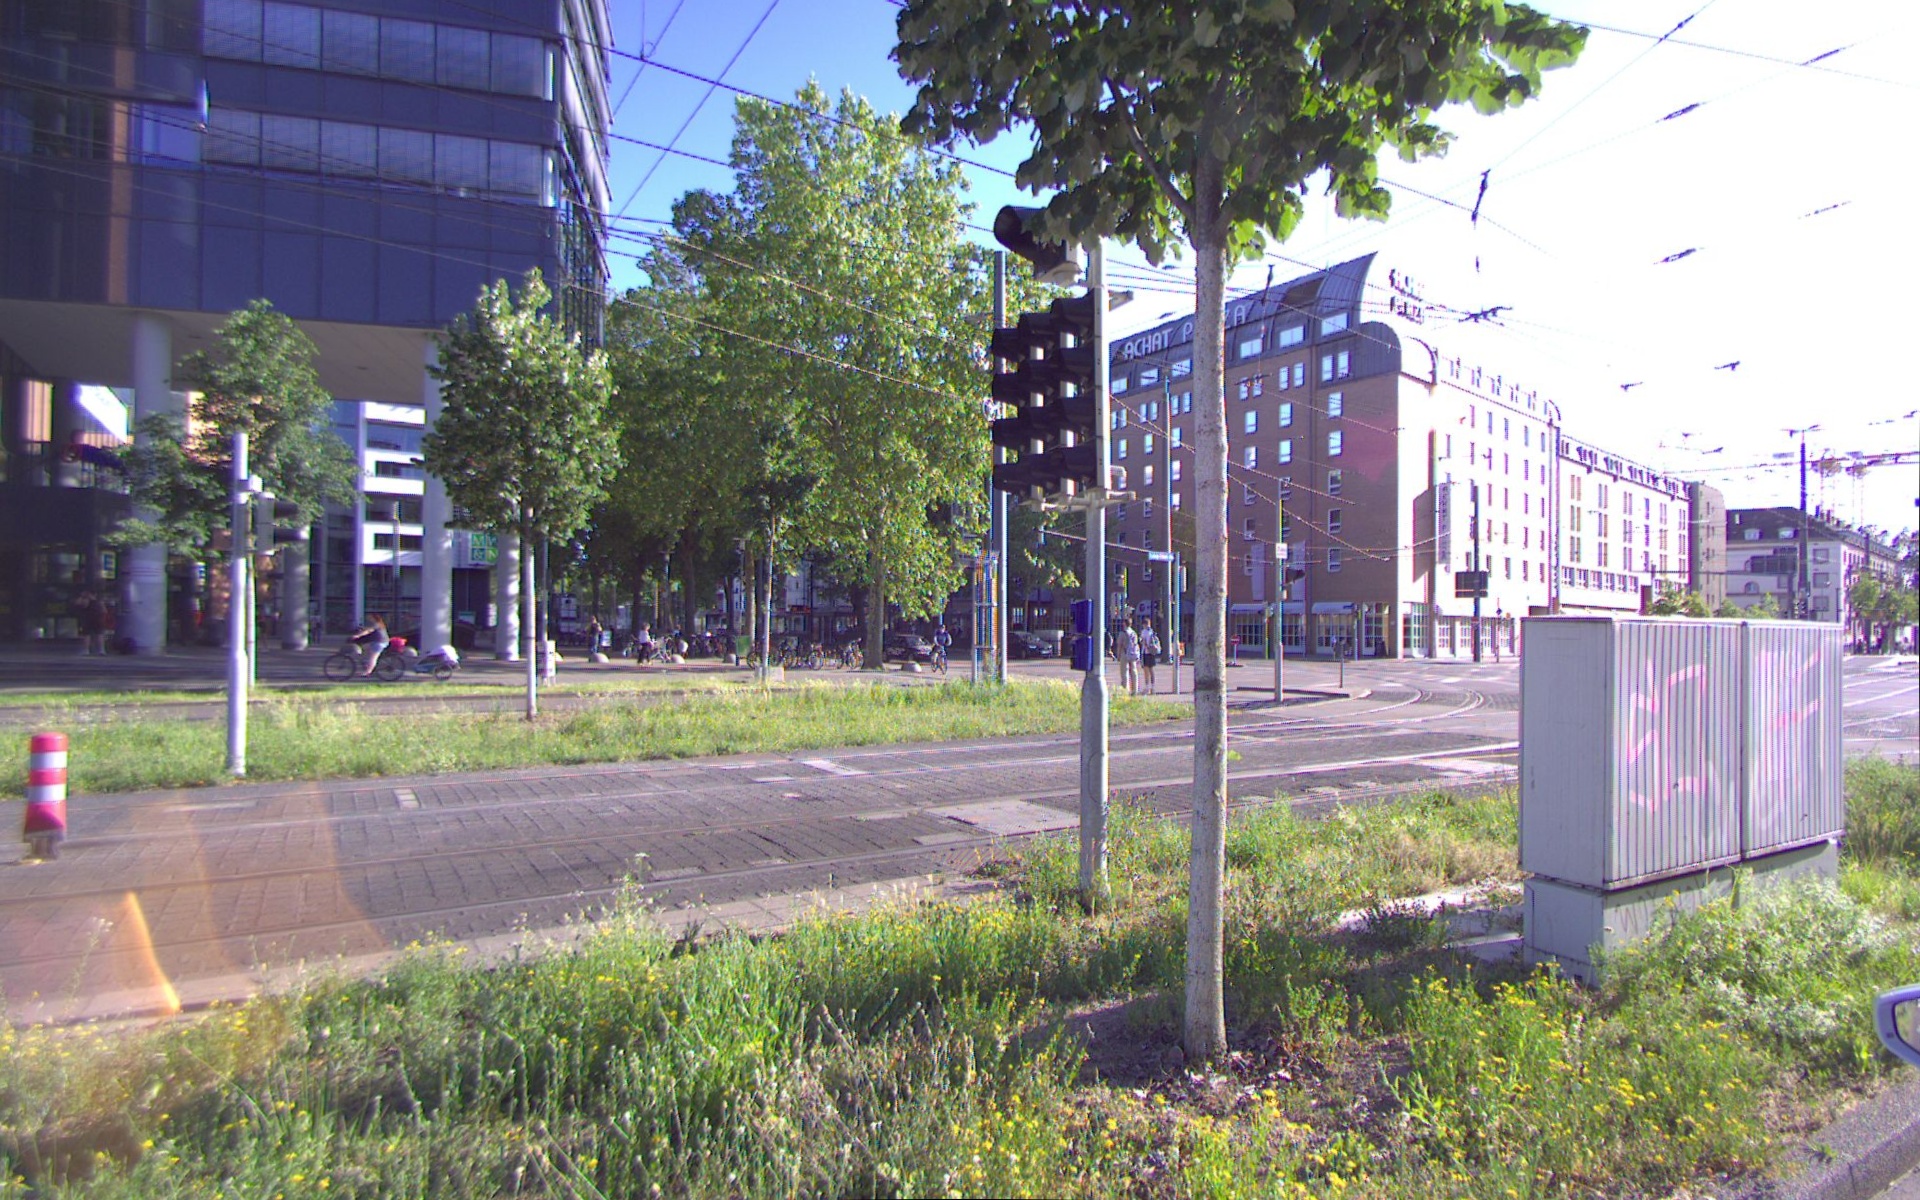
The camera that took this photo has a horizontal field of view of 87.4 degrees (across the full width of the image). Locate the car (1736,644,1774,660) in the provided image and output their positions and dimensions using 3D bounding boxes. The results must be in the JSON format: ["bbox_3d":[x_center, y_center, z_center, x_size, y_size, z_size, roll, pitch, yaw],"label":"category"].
[{"bbox_3d":[65.278,4.288,82.473,4.199,1.285,1.822,2,-4,-43],"label":"car"}]

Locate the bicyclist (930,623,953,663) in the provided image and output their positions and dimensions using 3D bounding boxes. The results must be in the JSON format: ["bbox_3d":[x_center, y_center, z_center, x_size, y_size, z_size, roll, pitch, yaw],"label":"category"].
[{"bbox_3d":[-0.686,1.583,37.256,0.682,1.480,0.752,1,-1,-14],"label":"bicyclist"}]

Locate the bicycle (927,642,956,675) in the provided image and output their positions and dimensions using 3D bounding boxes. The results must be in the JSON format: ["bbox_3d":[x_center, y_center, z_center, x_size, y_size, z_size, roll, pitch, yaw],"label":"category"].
[{"bbox_3d":[-0.699,2.165,37.260,0.682,1.152,1.846,1,-2,-13],"label":"bicycle"}]

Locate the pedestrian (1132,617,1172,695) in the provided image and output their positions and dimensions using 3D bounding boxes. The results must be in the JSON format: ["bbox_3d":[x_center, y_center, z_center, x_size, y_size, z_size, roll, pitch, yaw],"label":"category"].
[{"bbox_3d":[4.806,1.388,25.090,0.666,1.894,0.727,1,-2,-33],"label":"pedestrian"}]

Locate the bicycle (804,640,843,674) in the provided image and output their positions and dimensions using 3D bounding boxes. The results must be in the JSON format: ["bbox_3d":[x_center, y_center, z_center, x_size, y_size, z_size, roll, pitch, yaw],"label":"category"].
[{"bbox_3d":[-4.969,2.054,36.416,0.592,1.143,2.348,0,-1,-29],"label":"bicycle"}]

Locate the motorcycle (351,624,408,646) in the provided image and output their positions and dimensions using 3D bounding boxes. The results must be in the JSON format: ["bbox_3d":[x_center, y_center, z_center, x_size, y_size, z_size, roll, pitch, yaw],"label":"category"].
[{"bbox_3d":[-28.693,1.742,49.657,2.309,1.072,0.828,1,-1,-22],"label":"motorcycle"}]

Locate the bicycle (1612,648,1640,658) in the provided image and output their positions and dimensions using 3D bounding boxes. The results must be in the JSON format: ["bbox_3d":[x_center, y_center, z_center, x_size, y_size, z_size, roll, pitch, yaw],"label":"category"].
[{"bbox_3d":[57.338,4.581,86.519,0.477,0.856,2.024,1,-2,-30],"label":"bicycle"}]

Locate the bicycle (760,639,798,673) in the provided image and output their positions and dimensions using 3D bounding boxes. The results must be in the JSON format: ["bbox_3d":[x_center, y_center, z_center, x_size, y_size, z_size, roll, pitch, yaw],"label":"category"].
[{"bbox_3d":[-6.514,1.980,36.075,0.592,1.143,2.348,0,-1,-29],"label":"bicycle"}]

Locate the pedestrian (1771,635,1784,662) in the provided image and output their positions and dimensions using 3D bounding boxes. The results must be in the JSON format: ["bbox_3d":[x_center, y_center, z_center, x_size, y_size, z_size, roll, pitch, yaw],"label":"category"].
[{"bbox_3d":[48.658,2.890,59.771,0.573,1.598,0.644,0,-2,36],"label":"pedestrian"}]

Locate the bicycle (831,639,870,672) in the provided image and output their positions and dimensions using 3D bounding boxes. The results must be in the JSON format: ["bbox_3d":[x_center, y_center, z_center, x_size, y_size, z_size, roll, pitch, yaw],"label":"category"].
[{"bbox_3d":[-4.094,2.037,37.393,0.592,1.143,2.348,0,-1,-29],"label":"bicycle"}]

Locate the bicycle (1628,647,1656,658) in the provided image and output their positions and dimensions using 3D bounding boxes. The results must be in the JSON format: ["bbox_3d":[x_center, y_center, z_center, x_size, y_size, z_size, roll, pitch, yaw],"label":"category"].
[{"bbox_3d":[59.625,4.577,87.807,0.477,0.933,2.024,1,-2,-30],"label":"bicycle"}]

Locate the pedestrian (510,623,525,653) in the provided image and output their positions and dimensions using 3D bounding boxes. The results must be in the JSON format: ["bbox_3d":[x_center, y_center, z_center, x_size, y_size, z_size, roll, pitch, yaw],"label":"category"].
[{"bbox_3d":[-25.565,2.174,58.002,0.691,1.737,0.727,1,-1,-33],"label":"pedestrian"}]

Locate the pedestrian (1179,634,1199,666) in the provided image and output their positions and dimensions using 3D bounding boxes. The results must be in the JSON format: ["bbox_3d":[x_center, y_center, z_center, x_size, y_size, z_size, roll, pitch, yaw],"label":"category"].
[{"bbox_3d":[12.542,2.723,54.979,0.824,1.702,0.708,0,-1,-39],"label":"pedestrian"}]

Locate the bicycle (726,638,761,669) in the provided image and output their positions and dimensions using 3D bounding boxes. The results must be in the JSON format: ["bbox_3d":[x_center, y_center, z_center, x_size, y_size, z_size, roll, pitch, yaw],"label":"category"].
[{"bbox_3d":[-8.337,2.036,38.587,0.592,1.143,2.348,0,-1,-30],"label":"bicycle"}]

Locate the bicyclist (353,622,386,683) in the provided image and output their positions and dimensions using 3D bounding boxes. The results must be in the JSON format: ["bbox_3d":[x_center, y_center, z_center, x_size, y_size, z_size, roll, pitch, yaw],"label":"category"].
[{"bbox_3d":[-15.278,1.353,25.999,0.695,1.550,0.686,1,-1,-31],"label":"bicyclist"}]

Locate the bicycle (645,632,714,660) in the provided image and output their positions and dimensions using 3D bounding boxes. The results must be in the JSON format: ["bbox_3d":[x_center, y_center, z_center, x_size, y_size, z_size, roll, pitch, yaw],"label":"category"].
[{"bbox_3d":[-14.309,2.341,51.271,1.021,1.371,3.342,-1,-2,44],"label":"bicycle"}]

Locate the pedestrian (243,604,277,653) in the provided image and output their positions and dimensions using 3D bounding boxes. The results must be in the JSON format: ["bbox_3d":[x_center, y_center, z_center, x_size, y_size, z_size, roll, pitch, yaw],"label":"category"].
[{"bbox_3d":[-23.814,0.961,34.179,0.722,1.644,0.696,1,-1,-18],"label":"pedestrian"}]

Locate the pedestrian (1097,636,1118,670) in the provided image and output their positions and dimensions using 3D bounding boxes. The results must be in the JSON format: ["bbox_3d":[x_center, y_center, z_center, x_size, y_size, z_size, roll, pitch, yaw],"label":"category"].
[{"bbox_3d":[7.584,2.698,51.722,0.821,1.702,0.711,0,-1,-30],"label":"pedestrian"}]

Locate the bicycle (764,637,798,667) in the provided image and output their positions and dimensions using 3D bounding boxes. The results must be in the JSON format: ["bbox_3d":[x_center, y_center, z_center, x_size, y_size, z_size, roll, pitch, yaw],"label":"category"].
[{"bbox_3d":[-7.356,2.117,41.119,0.592,1.143,2.348,0,-1,-30],"label":"bicycle"}]

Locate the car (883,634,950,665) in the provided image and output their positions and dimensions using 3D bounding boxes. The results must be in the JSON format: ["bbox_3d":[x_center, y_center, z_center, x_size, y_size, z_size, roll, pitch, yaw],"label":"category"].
[{"bbox_3d":[-2.165,2.394,49.013,1.652,1.425,3.968,2,-3,-30],"label":"car"}]

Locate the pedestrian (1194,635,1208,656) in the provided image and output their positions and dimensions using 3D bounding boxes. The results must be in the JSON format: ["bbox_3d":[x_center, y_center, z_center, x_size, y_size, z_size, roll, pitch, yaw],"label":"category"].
[{"bbox_3d":[19.117,3.613,79.653,0.734,1.688,0.745,1,-1,-38],"label":"pedestrian"}]

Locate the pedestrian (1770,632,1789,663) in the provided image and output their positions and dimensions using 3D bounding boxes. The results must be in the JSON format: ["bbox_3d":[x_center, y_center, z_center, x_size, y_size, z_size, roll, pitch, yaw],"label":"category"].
[{"bbox_3d":[47.351,2.747,58.051,0.589,1.750,0.715,2,-2,-39],"label":"pedestrian"}]

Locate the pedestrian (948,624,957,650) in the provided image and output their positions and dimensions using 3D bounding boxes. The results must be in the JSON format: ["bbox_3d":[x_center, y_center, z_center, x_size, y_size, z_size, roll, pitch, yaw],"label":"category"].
[{"bbox_3d":[-0.519,2.640,71.310,0.581,1.853,0.745,1,-1,-1],"label":"pedestrian"}]

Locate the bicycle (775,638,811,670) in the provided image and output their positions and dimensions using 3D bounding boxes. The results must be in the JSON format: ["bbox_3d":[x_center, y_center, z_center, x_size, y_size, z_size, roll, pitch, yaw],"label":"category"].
[{"bbox_3d":[-6.484,2.067,38.836,0.592,1.143,2.348,0,-1,-30],"label":"bicycle"}]

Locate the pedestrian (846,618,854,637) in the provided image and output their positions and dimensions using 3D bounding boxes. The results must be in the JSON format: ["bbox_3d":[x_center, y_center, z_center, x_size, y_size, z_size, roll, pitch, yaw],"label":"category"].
[{"bbox_3d":[-9.123,2.293,83.262,0.557,1.594,0.636,2,0,-20],"label":"pedestrian"}]

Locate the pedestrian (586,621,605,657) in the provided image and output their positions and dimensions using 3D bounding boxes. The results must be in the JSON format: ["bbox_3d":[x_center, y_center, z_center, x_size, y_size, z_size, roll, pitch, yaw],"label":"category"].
[{"bbox_3d":[-16.998,1.830,46.837,0.691,1.674,0.700,2,-1,-32],"label":"pedestrian"}]

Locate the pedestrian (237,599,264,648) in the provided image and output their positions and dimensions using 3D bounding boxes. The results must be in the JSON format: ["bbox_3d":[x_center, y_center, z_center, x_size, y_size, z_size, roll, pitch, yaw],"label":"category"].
[{"bbox_3d":[-25.408,0.860,35.975,0.691,1.727,0.728,1,-2,-31],"label":"pedestrian"}]

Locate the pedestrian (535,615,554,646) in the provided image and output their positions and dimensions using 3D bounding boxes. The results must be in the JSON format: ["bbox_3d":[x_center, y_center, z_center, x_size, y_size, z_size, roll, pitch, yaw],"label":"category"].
[{"bbox_3d":[-22.372,1.627,54.072,0.685,1.644,0.734,1,-1,1],"label":"pedestrian"}]

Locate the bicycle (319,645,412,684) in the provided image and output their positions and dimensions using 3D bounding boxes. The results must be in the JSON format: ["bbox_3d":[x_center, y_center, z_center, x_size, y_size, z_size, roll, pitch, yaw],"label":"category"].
[{"bbox_3d":[-15.341,1.645,25.964,2.043,0.962,0.686,2,-1,-31],"label":"bicycle"}]

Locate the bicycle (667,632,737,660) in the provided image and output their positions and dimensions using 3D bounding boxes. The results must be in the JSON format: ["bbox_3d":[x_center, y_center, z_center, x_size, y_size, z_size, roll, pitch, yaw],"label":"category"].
[{"bbox_3d":[-12.812,2.274,49.947,1.021,1.371,3.342,-1,-2,44],"label":"bicycle"}]

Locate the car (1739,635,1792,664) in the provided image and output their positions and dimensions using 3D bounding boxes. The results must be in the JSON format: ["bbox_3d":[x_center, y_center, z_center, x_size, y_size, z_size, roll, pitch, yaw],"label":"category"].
[{"bbox_3d":[53.359,3.280,66.509,4.071,1.859,1.825,2,-4,-38],"label":"car"}]

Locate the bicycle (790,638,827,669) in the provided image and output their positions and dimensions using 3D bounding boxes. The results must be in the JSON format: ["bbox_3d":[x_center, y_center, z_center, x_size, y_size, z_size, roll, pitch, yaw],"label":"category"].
[{"bbox_3d":[-5.909,2.054,39.105,0.592,1.143,2.348,0,-1,-30],"label":"bicycle"}]

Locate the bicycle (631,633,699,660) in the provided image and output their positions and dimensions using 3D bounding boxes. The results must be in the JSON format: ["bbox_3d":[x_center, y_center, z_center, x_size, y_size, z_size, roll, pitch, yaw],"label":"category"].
[{"bbox_3d":[-15.363,2.394,52.338,1.021,1.371,3.342,-1,-2,44],"label":"bicycle"}]

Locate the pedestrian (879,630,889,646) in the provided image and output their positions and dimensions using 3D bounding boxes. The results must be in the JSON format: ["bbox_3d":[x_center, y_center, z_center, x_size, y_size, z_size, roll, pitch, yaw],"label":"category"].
[{"bbox_3d":[-5.698,2.858,75.060,0.583,1.179,0.742,1,-1,-17],"label":"pedestrian"}]

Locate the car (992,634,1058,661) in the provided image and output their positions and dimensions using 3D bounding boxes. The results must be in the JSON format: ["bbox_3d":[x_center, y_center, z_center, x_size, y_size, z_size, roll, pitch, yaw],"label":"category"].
[{"bbox_3d":[3.534,2.569,55.125,1.653,1.433,3.965,2,-3,-32],"label":"car"}]

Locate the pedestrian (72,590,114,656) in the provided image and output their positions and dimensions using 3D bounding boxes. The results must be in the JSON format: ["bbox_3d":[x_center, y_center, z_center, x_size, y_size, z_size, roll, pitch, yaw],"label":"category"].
[{"bbox_3d":[-23.144,0.620,26.829,0.691,1.727,0.728,1,-2,-31],"label":"pedestrian"}]

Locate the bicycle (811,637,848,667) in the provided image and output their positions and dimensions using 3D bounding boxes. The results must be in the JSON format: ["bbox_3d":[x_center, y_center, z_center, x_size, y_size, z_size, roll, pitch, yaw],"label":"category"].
[{"bbox_3d":[-5.250,2.077,40.241,0.592,1.143,2.348,0,-1,-30],"label":"bicycle"}]

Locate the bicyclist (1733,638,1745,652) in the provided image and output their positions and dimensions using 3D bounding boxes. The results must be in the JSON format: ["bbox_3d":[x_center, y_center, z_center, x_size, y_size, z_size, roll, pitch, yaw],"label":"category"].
[{"bbox_3d":[77.123,4.470,99.407,0.919,1.395,0.802,2,-2,-42],"label":"bicyclist"}]

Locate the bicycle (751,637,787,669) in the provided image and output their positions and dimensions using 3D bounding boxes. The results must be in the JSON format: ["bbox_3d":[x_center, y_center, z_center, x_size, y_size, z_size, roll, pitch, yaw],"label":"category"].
[{"bbox_3d":[-7.439,2.040,39.026,0.592,1.143,2.348,0,-1,-30],"label":"bicycle"}]

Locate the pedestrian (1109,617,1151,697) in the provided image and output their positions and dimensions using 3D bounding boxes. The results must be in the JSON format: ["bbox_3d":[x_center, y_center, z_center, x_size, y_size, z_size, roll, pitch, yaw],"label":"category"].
[{"bbox_3d":[4.136,1.379,24.444,0.691,1.894,0.728,1,-2,-31],"label":"pedestrian"}]

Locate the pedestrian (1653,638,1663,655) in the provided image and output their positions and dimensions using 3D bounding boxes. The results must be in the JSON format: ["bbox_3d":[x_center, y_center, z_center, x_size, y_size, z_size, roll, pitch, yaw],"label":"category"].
[{"bbox_3d":[72.149,4.787,103.805,0.560,1.787,0.711,2,-3,-38],"label":"pedestrian"}]

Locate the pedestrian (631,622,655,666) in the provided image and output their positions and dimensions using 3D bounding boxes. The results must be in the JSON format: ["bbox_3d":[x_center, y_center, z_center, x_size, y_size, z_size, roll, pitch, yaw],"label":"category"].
[{"bbox_3d":[-12.354,1.697,39.158,0.819,1.702,0.712,-1,-1,-23],"label":"pedestrian"}]

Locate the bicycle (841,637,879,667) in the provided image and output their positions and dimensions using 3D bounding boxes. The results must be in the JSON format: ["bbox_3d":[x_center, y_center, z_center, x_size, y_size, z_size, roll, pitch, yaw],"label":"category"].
[{"bbox_3d":[-4.066,2.088,40.701,0.592,1.143,2.348,0,-1,-30],"label":"bicycle"}]

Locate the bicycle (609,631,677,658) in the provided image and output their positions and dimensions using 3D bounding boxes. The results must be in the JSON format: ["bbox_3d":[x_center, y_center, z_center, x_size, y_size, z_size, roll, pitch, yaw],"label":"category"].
[{"bbox_3d":[-16.723,2.334,53.121,1.021,1.371,3.342,-1,-2,44],"label":"bicycle"}]

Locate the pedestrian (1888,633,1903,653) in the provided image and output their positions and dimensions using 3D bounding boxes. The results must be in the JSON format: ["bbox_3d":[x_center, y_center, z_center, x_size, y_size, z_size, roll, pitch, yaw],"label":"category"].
[{"bbox_3d":[82.320,3.759,88.387,0.850,1.692,0.781,0,0,39],"label":"pedestrian"}]

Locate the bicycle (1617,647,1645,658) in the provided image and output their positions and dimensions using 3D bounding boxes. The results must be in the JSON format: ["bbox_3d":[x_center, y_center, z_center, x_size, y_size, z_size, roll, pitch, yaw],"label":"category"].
[{"bbox_3d":[58.436,4.583,87.526,0.477,0.933,2.024,1,-2,-30],"label":"bicycle"}]
